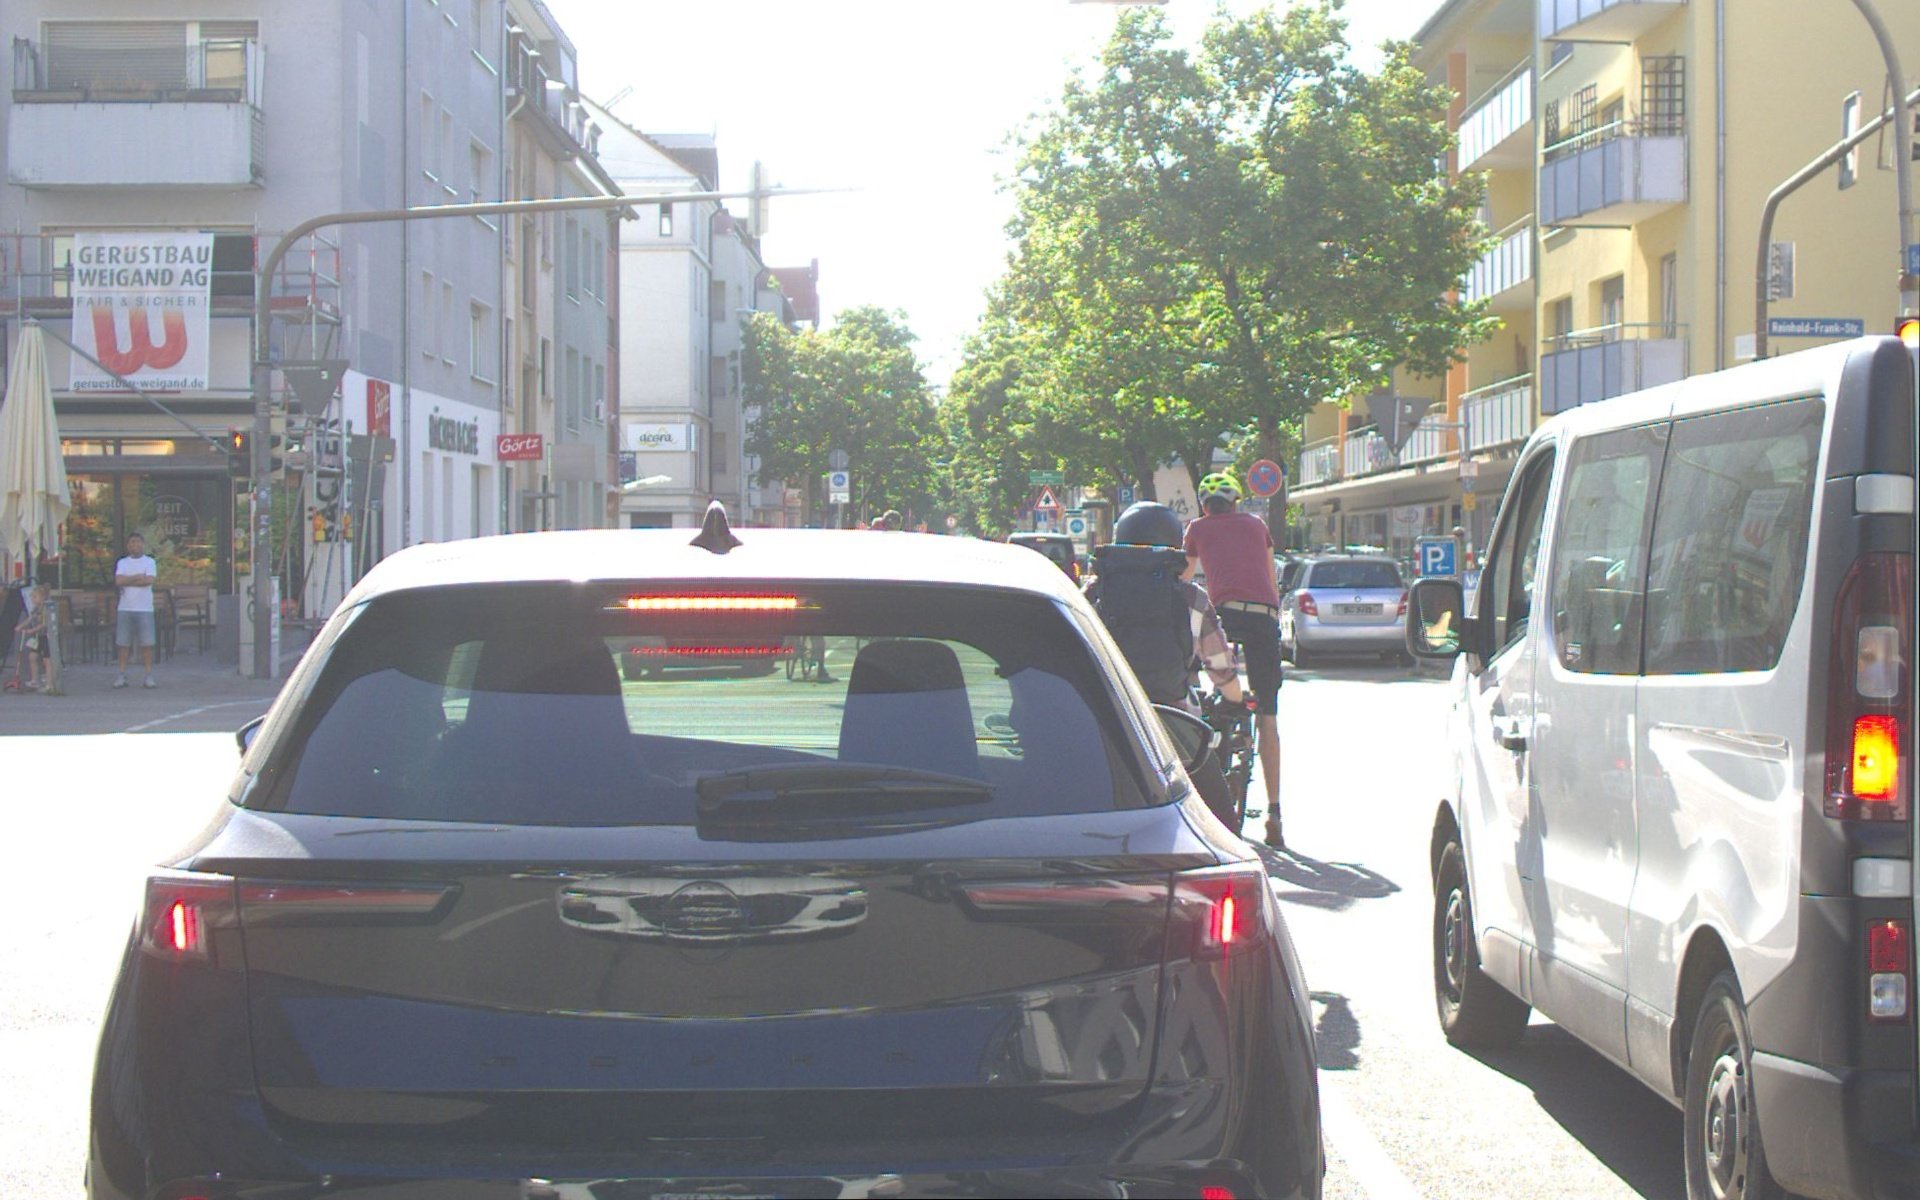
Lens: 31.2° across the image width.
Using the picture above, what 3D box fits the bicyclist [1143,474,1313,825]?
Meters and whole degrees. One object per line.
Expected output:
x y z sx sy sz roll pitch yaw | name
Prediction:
1.345 0.231 17.459 0.689 1.707 1.414 0 1 -2 | bicyclist

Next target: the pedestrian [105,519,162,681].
-9.150 -0.004 38.075 0.561 1.769 0.584 0 1 -9 | pedestrian

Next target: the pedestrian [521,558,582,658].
-5.173 0.101 43.586 0.707 1.249 0.802 0 1 -2 | pedestrian

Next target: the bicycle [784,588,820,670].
-2.014 0.361 43.863 0.443 0.989 2.069 0 1 -2 | bicycle

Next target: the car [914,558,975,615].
-0.469 -0.430 107.143 1.825 1.722 4.000 0 1 1 | car

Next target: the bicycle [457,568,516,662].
-6.038 0.176 43.916 0.521 1.143 2.284 0 1 -2 | bicycle

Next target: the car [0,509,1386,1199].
-0.431 0.618 6.342 1.770 1.525 4.001 0 1 -2 | car

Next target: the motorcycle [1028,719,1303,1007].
0.689 0.890 12.155 0.825 0.842 1.885 0 1 -1 | motorcycle

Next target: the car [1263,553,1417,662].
5.174 0.072 47.254 1.634 1.428 3.957 0 1 -1 | car

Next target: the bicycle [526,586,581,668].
-5.173 0.330 43.790 0.521 0.989 2.339 0 1 -2 | bicycle

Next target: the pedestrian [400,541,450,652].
-7.388 -0.050 47.477 0.617 1.516 0.725 0 1 -3 | pedestrian

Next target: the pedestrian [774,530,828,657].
-2.017 -0.085 43.742 0.680 1.600 0.762 0 1 -2 | pedestrian

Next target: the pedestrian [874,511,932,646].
-0.729 -0.271 43.619 0.707 1.695 0.802 0 1 -2 | pedestrian

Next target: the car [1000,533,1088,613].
1.833 -0.620 76.269 1.902 1.722 4.073 0 1 1 | car

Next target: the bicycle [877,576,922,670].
-0.773 0.281 43.713 0.521 1.143 2.170 0 1 -2 | bicycle

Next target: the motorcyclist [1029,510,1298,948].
0.709 0.434 12.349 0.864 1.497 1.160 0 1 -2 | motorcyclist

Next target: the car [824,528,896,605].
-2.648 -0.918 91.760 1.855 2.007 3.881 0 1 -1 | car

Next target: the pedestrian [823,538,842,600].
-3.462 -0.849 93.432 0.488 1.684 0.588 0 1 -1 | pedestrian

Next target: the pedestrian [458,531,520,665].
-5.979 -0.031 43.643 0.707 1.672 0.802 0 1 -2 | pedestrian

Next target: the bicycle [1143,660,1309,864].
1.334 0.795 17.627 0.577 0.901 2.301 0 1 -2 | bicycle

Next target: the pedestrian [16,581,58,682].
-10.044 0.340 37.406 0.355 1.088 0.462 0 1 -3 | pedestrian

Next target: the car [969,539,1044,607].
1.175 -0.709 89.215 1.902 1.722 4.000 0 1 0 | car

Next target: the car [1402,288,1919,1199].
2.451 0.427 8.462 1.993 1.972 4.895 2 1 -1 | car

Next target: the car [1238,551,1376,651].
5.197 -0.016 51.859 1.634 1.428 4.000 0 1 -1 | car

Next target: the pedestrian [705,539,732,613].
-5.548 -0.556 78.996 0.570 1.684 0.588 0 1 -1 | pedestrian

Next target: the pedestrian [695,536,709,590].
-8.028 -1.142 107.006 0.402 1.669 0.418 0 1 -1 | pedestrian
